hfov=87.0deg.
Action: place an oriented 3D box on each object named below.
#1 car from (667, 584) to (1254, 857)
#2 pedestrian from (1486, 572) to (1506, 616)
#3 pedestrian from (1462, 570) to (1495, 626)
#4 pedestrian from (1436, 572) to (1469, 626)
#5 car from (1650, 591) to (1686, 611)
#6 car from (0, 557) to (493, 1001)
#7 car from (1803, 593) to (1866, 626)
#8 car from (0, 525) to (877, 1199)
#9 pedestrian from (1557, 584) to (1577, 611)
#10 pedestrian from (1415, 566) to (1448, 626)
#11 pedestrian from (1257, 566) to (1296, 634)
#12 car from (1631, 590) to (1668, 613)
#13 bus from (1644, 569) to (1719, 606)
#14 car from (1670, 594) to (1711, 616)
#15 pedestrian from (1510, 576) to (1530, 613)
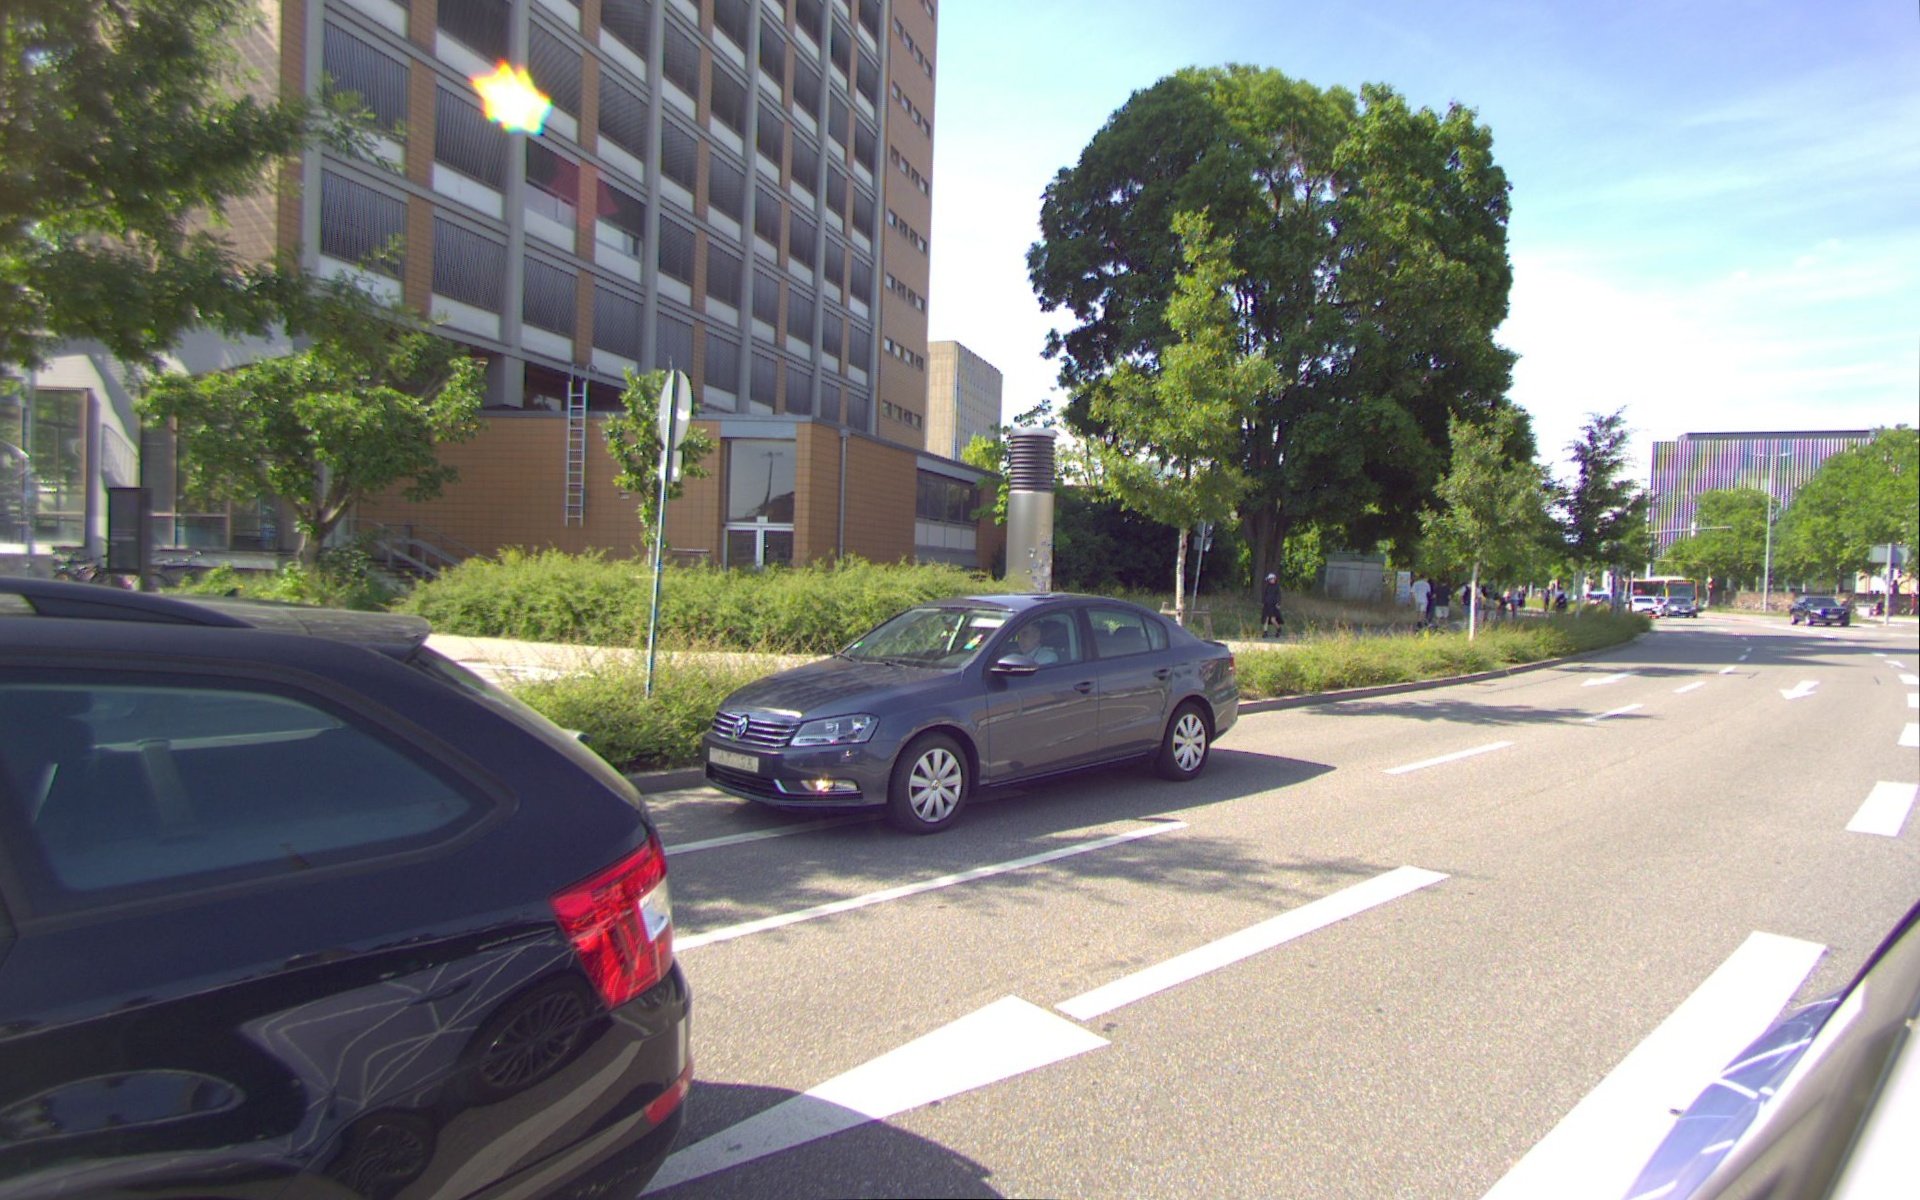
[{"bbox_3d":[0.259,0.614,7.538,4.451,1.453,1.633,-1,1,-42],"label":"car"},{"bbox_3d":[22.341,-0.245,42.170,0.638,1.785,0.470,3,3,29],"label":"pedestrian"},{"bbox_3d":[16.257,-0.066,31.738,0.739,1.694,0.643,0,3,-41],"label":"pedestrian"},{"bbox_3d":[15.517,-0.036,31.901,0.719,1.646,0.643,0,3,-41],"label":"pedestrian"},{"bbox_3d":[53.865,0.059,77.065,1.635,1.442,4.083,0,0,26],"label":"car"},{"bbox_3d":[-4.169,0.569,3.515,4.321,1.448,1.703,1,0,-41],"label":"car"},{"bbox_3d":[48.290,0.498,55.949,1.743,1.751,4.073,0,0,28],"label":"car"},{"bbox_3d":[-2.446,0.635,1.092,4.698,1.453,1.633,-1,1,-42],"label":"car"},{"bbox_3d":[26.130,-0.114,43.564,0.639,1.145,0.743,4,3,33],"label":"pedestrian"},{"bbox_3d":[15.096,-0.143,32.404,0.719,1.860,0.643,0,3,-41],"label":"pedestrian"},{"bbox_3d":[8.075,-0.015,25.853,0.719,1.684,0.592,0,3,-41],"label":"pedestrian"},{"bbox_3d":[46.414,0.114,68.180,1.667,1.493,3.723,0,0,28],"label":"car"},{"bbox_3d":[66.612,-1.173,93.792,2.764,3.076,12.061,2,1,22],"label":"bus"},{"bbox_3d":[51.631,0.346,71.591,1.635,1.442,4.083,0,0,26],"label":"car"},{"bbox_3d":[23.104,-0.233,41.770,0.638,1.464,0.564,3,3,29],"label":"pedestrian"}]
